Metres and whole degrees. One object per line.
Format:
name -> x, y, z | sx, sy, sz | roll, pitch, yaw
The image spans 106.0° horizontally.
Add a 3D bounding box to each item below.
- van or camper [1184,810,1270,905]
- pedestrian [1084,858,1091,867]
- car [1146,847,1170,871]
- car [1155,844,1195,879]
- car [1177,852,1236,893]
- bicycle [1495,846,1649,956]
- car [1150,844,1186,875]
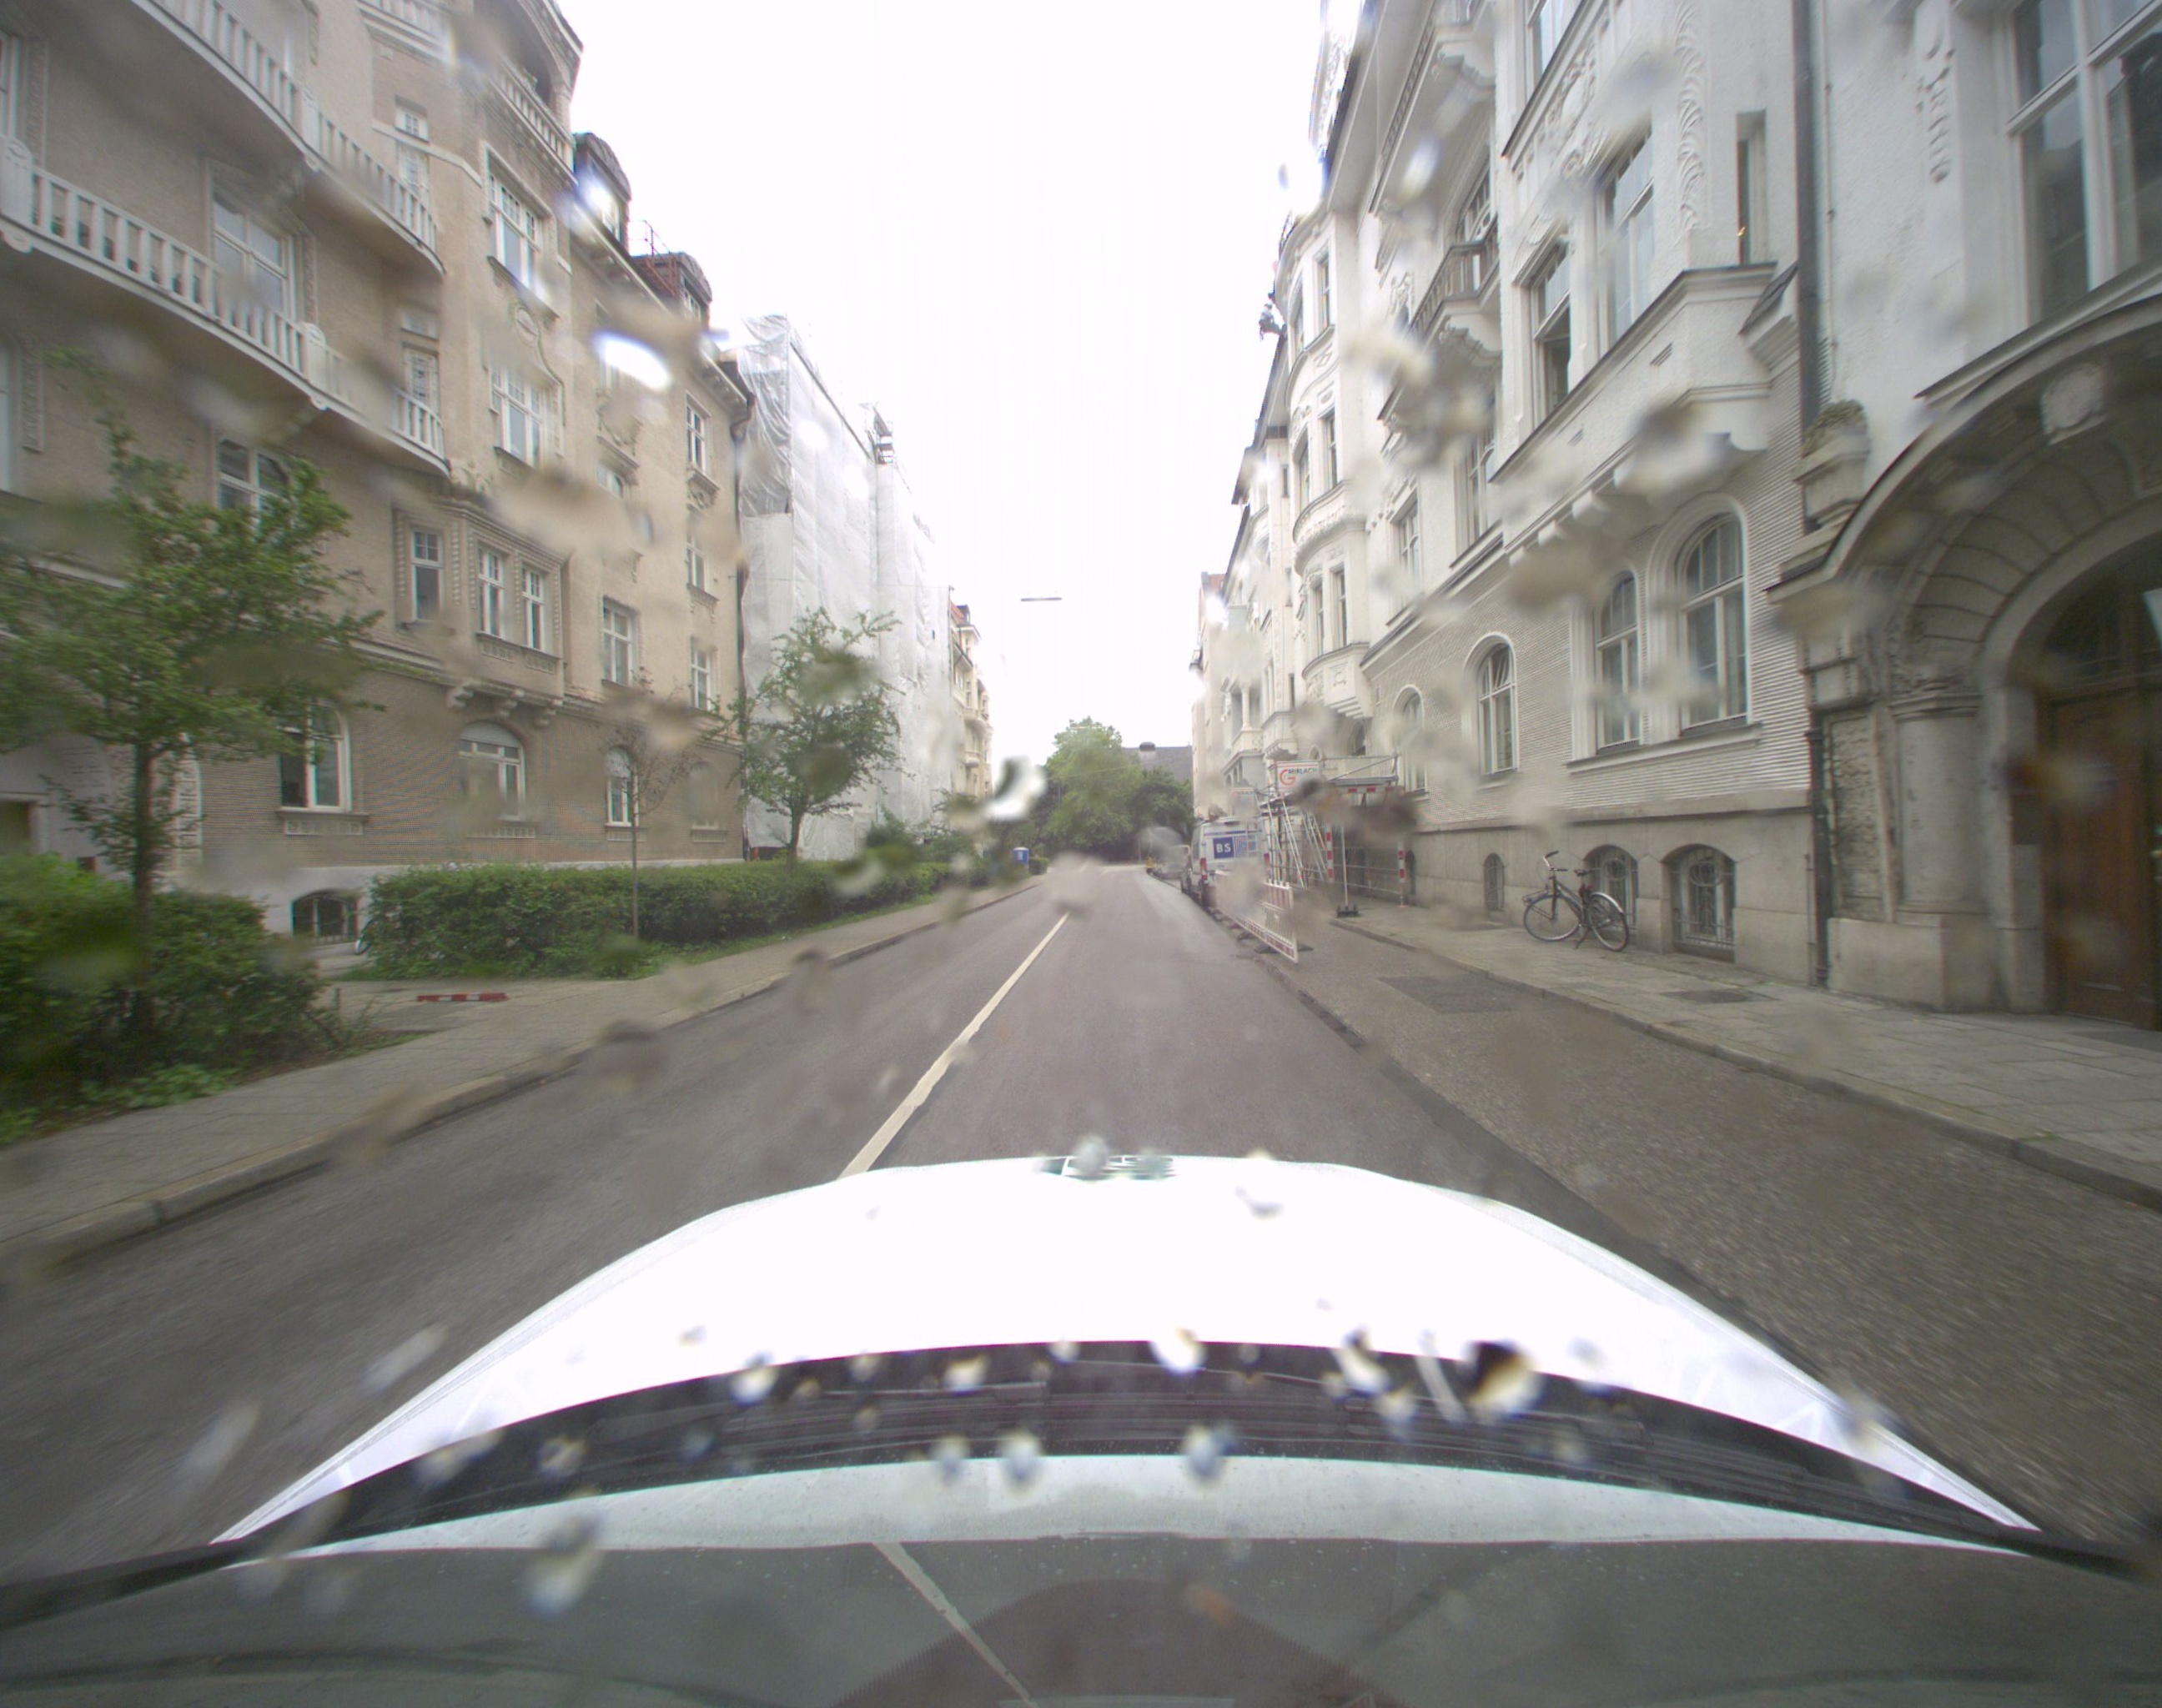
van or camper -> 4.506, 0.108, 25.999 | 1.945, 2.637, 5.463 | -2, 0, 3
pedestrian -> 0.834, 1.093, 109.381 | 0.807, 1.189, 0.922 | -2, 0, 9
car -> 6.456, 0.417, 68.030 | 1.841, 1.853, 4.828 | -2, 0, 6
car -> 5.758, 0.441, 50.595 | 1.952, 2.013, 4.994 | -2, 0, 1
car -> 4.829, 0.684, 31.904 | 1.747, 1.434, 4.088 | -2, 0, 2
bicycle -> 6.160, 0.549, 10.366 | 0.658, 1.206, 1.921 | -6, 0, -1
car -> 6.002, 0.374, 56.766 | 1.952, 1.937, 4.994 | -2, 0, 1
